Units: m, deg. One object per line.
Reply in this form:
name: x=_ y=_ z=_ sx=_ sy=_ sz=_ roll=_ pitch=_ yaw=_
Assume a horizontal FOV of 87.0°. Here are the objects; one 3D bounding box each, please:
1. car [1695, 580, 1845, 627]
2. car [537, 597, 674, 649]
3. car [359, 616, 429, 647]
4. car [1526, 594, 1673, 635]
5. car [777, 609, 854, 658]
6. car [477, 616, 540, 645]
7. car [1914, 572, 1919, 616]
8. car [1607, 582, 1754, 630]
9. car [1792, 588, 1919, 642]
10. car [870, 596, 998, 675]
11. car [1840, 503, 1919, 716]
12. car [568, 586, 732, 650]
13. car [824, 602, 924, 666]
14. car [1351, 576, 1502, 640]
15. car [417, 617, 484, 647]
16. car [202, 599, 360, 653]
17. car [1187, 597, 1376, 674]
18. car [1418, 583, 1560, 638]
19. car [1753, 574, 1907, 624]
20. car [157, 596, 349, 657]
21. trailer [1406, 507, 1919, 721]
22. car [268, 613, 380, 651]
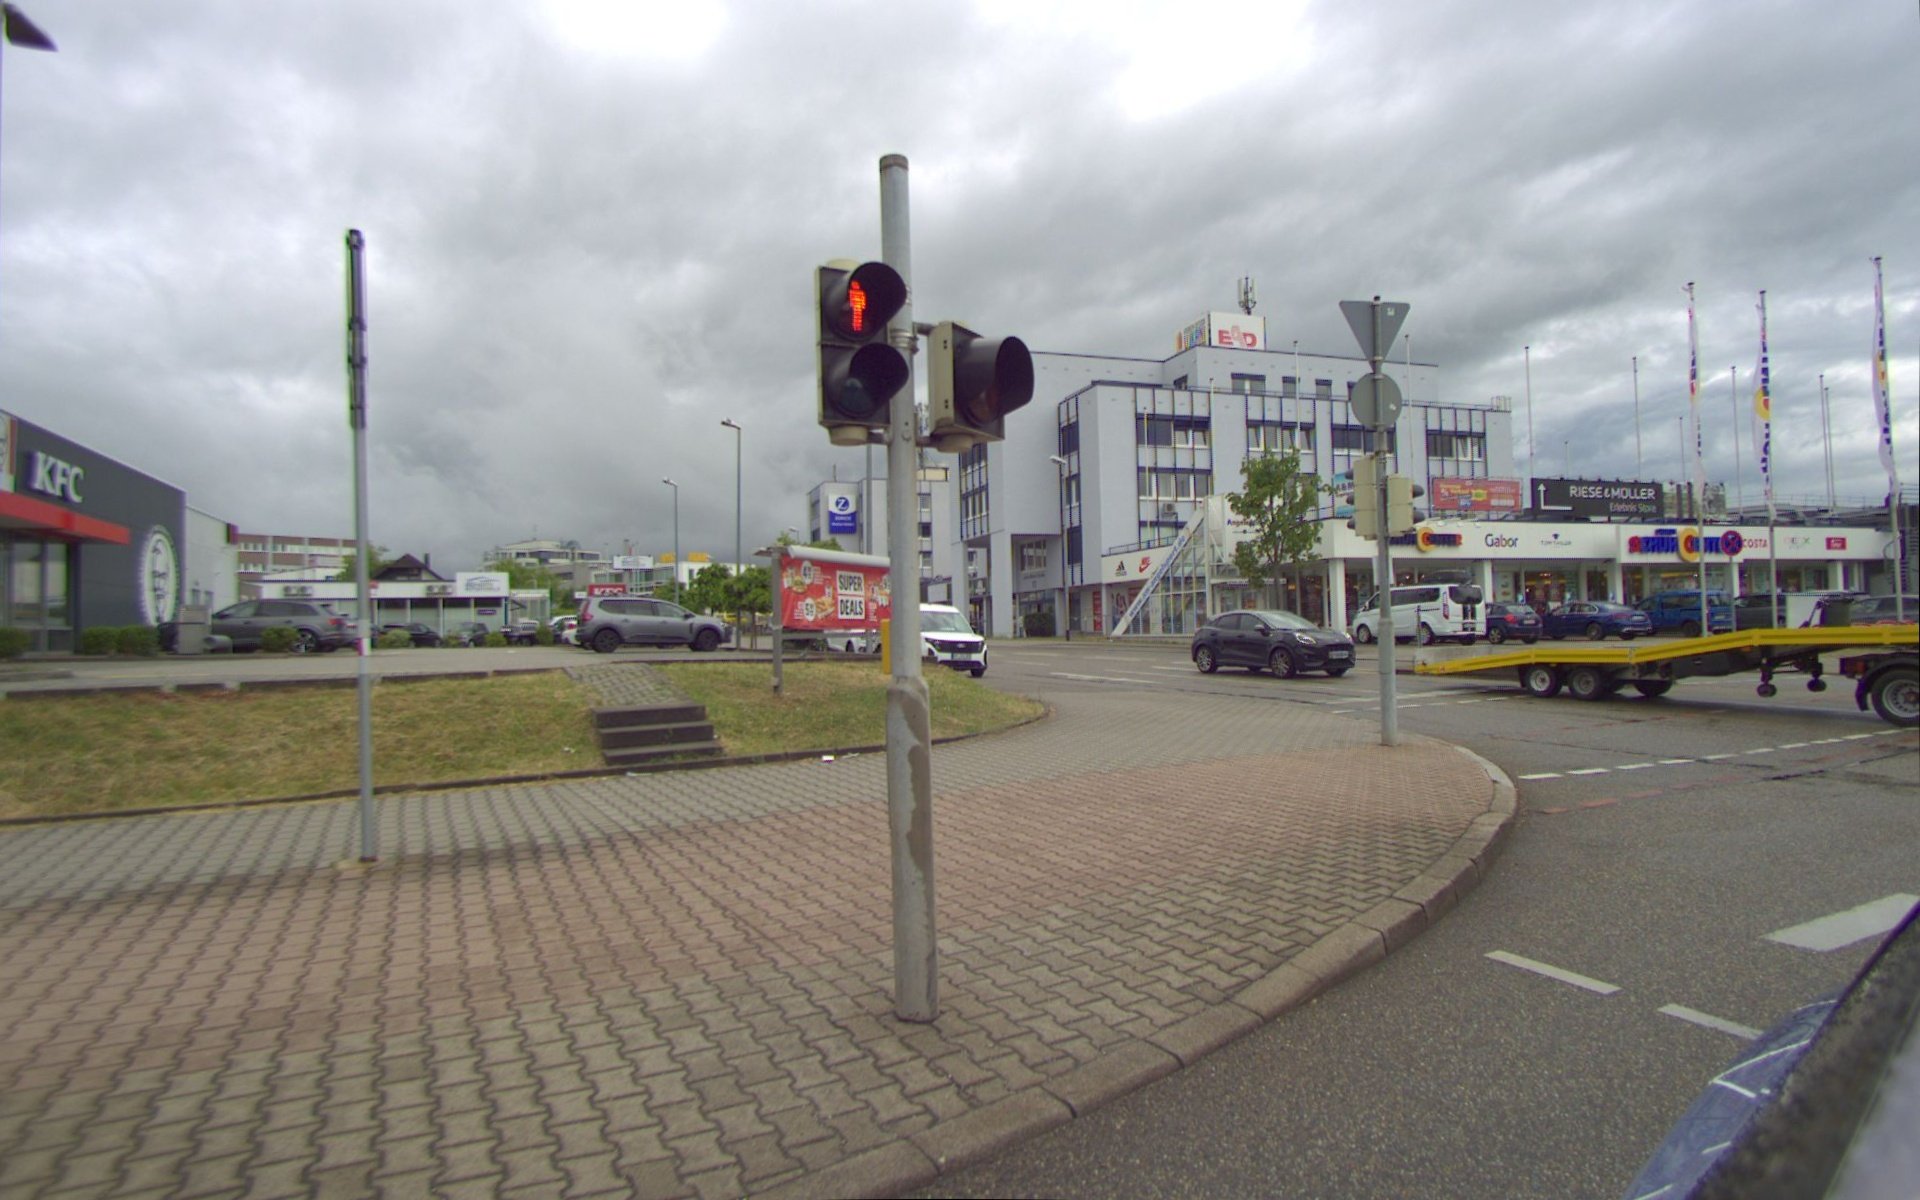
car: x=32.790 y=0.181 z=41.125 sx=1.857 sy=1.786 sz=4.383 roll=-1 pitch=-1 yaw=-19
car: x=-12.751 y=0.804 z=36.431 sx=4.410 sy=1.763 sz=1.895 roll=0 pitch=-1 yaw=-28
car: x=-30.920 y=1.713 z=55.391 sx=1.537 sy=1.572 sz=3.358 roll=-2 pitch=-1 yaw=11
car: x=23.430 y=0.536 z=37.279 sx=1.785 sy=1.412 sz=4.383 roll=-1 pitch=-1 yaw=-19
car: x=-5.195 y=1.151 z=35.930 sx=1.786 sy=1.619 sz=4.007 roll=-1 pitch=-1 yaw=-22
car: x=-25.519 y=1.699 z=57.265 sx=1.538 sy=1.572 sz=3.355 roll=-2 pitch=-1 yaw=14
car: x=46.351 y=-0.322 z=45.933 sx=1.871 sy=2.039 sz=4.007 roll=-1 pitch=-1 yaw=-16
car: x=28.146 y=0.252 z=39.690 sx=1.857 sy=1.786 sz=4.383 roll=-1 pitch=-1 yaw=-19
car: x=25.830 y=0.408 z=27.930 sx=1.785 sy=1.412 sz=4.134 roll=-1 pitch=-1 yaw=-16
car: x=-0.749 y=0.870 z=25.484 sx=1.761 sy=1.806 sz=4.256 roll=2 pitch=-2 yaw=-23
car: x=13.006 y=0.089 z=10.755 sx=2.200 sy=2.505 sz=5.022 roll=0 pitch=-1 yaw=-25
car: x=-9.123 y=0.493 z=29.822 sx=4.409 sy=1.763 sz=1.895 roll=-1 pitch=-1 yaw=-24
car: x=-2.616 y=0.976 z=29.935 sx=1.786 sy=1.730 sz=4.007 roll=0 pitch=-1 yaw=-22
car: x=15.958 y=0.297 z=34.959 sx=1.958 sy=2.039 sz=4.796 roll=0 pitch=-1 yaw=-18
car: x=-28.314 y=1.785 z=56.345 sx=1.538 sy=1.572 sz=3.354 roll=-2 pitch=-2 yaw=14
car: x=-23.741 y=0.870 z=35.582 sx=4.411 sy=1.763 sz=1.895 roll=0 pitch=-1 yaw=-28
car: x=7.262 y=0.787 z=23.265 sx=1.778 sy=1.560 sz=4.005 roll=-2 pitch=-1 yaw=-27
car: x=18.828 y=0.390 z=36.246 sx=1.857 sy=1.843 sz=4.383 roll=-1 pitch=-1 yaw=-19
car: x=35.541 y=0.010 z=41.499 sx=1.857 sy=1.930 sz=4.383 roll=-1 pitch=-1 yaw=-19
car: x=-21.739 y=0.780 z=31.378 sx=4.646 sy=1.763 sz=1.895 roll=0 pitch=-1 yaw=-28
trailer: x=10.854 y=0.189 z=15.279 sx=2.263 sy=2.505 sz=7.983 roll=0 pitch=-1 yaw=-25
car: x=-26.859 y=1.324 z=42.880 sx=3.956 sy=1.505 sz=1.742 roll=0 pitch=-1 yaw=-30
